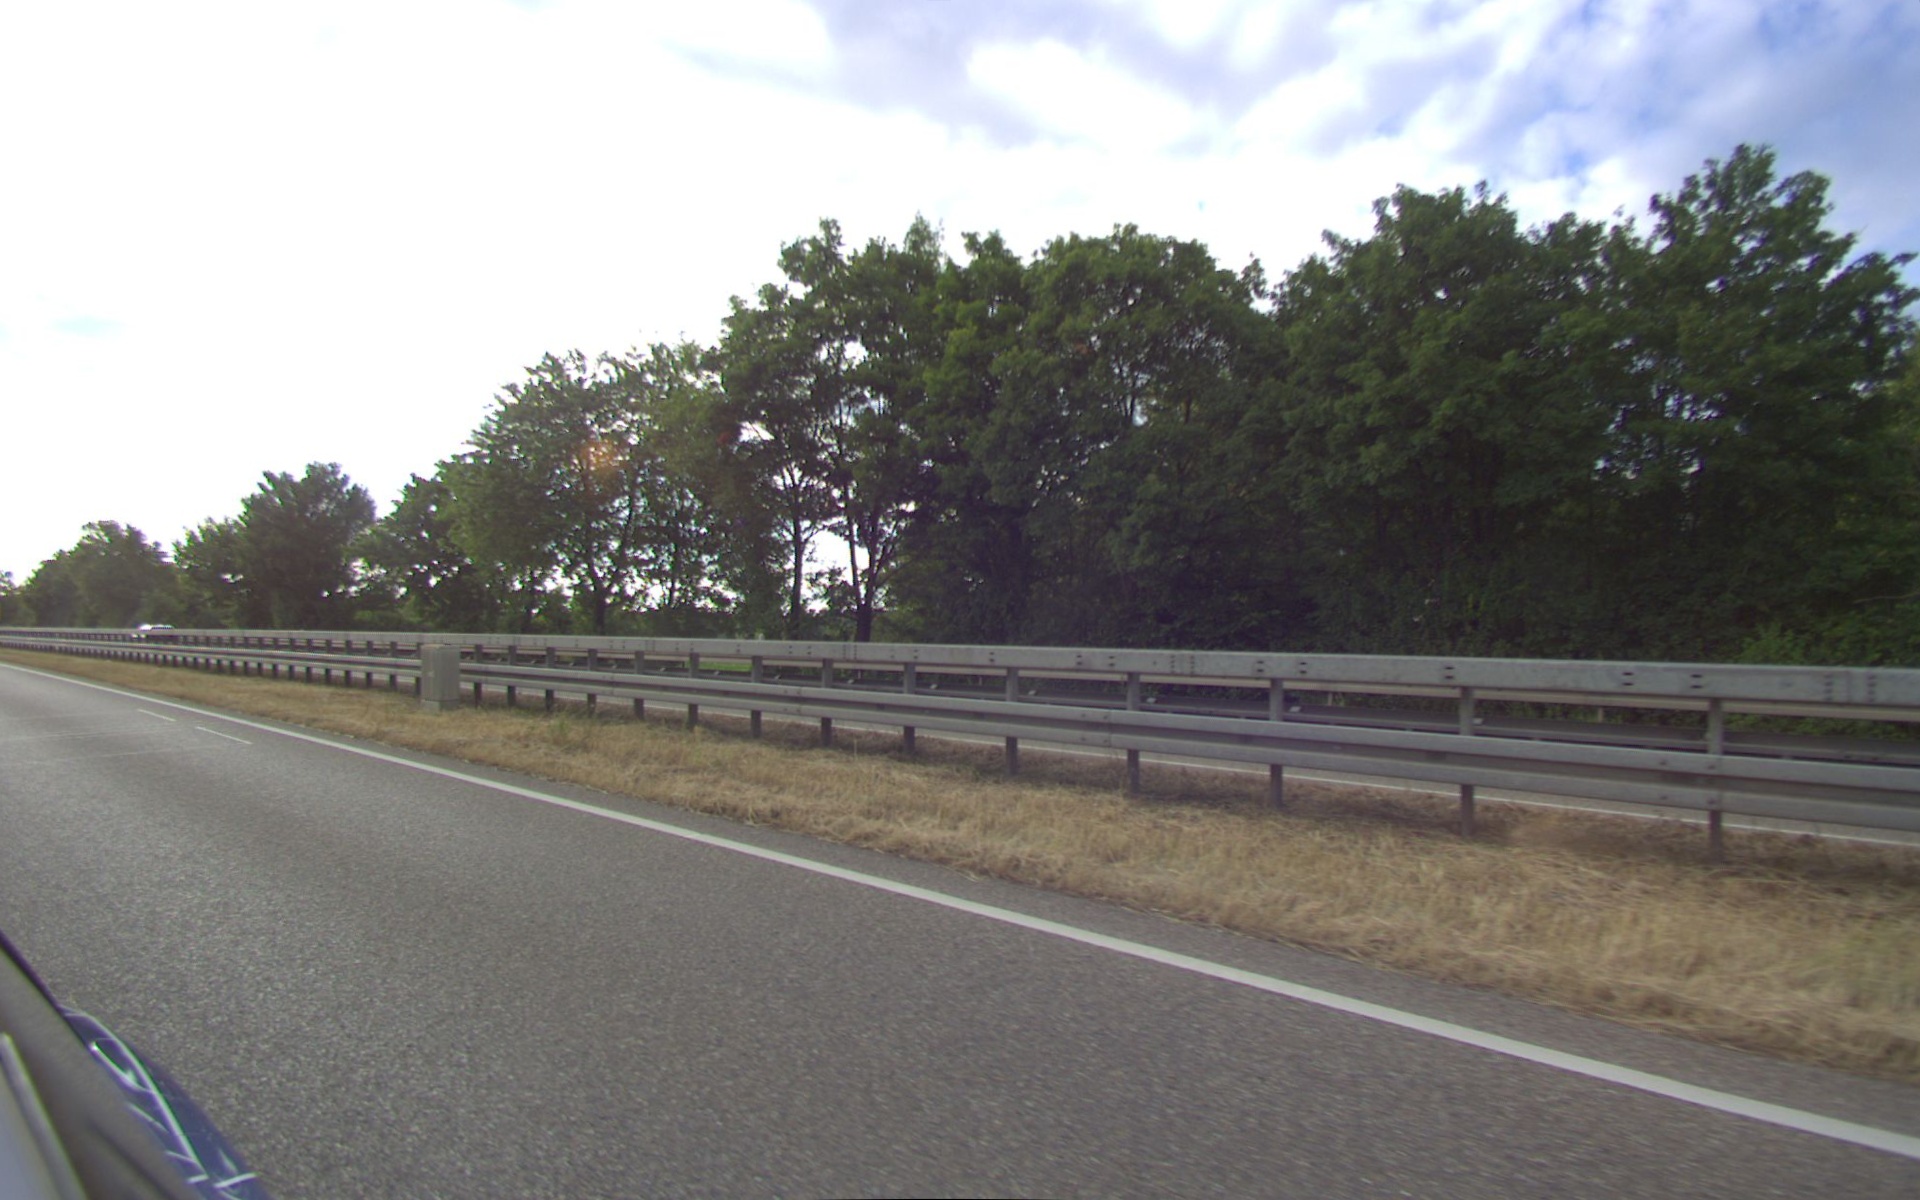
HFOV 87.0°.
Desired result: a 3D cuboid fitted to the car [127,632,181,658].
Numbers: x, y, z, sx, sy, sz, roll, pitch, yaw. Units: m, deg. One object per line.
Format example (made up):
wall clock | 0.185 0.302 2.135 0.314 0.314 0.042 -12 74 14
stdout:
car | -50.346 2.805 63.196 4.585 1.556 1.805 -1 -3 41
